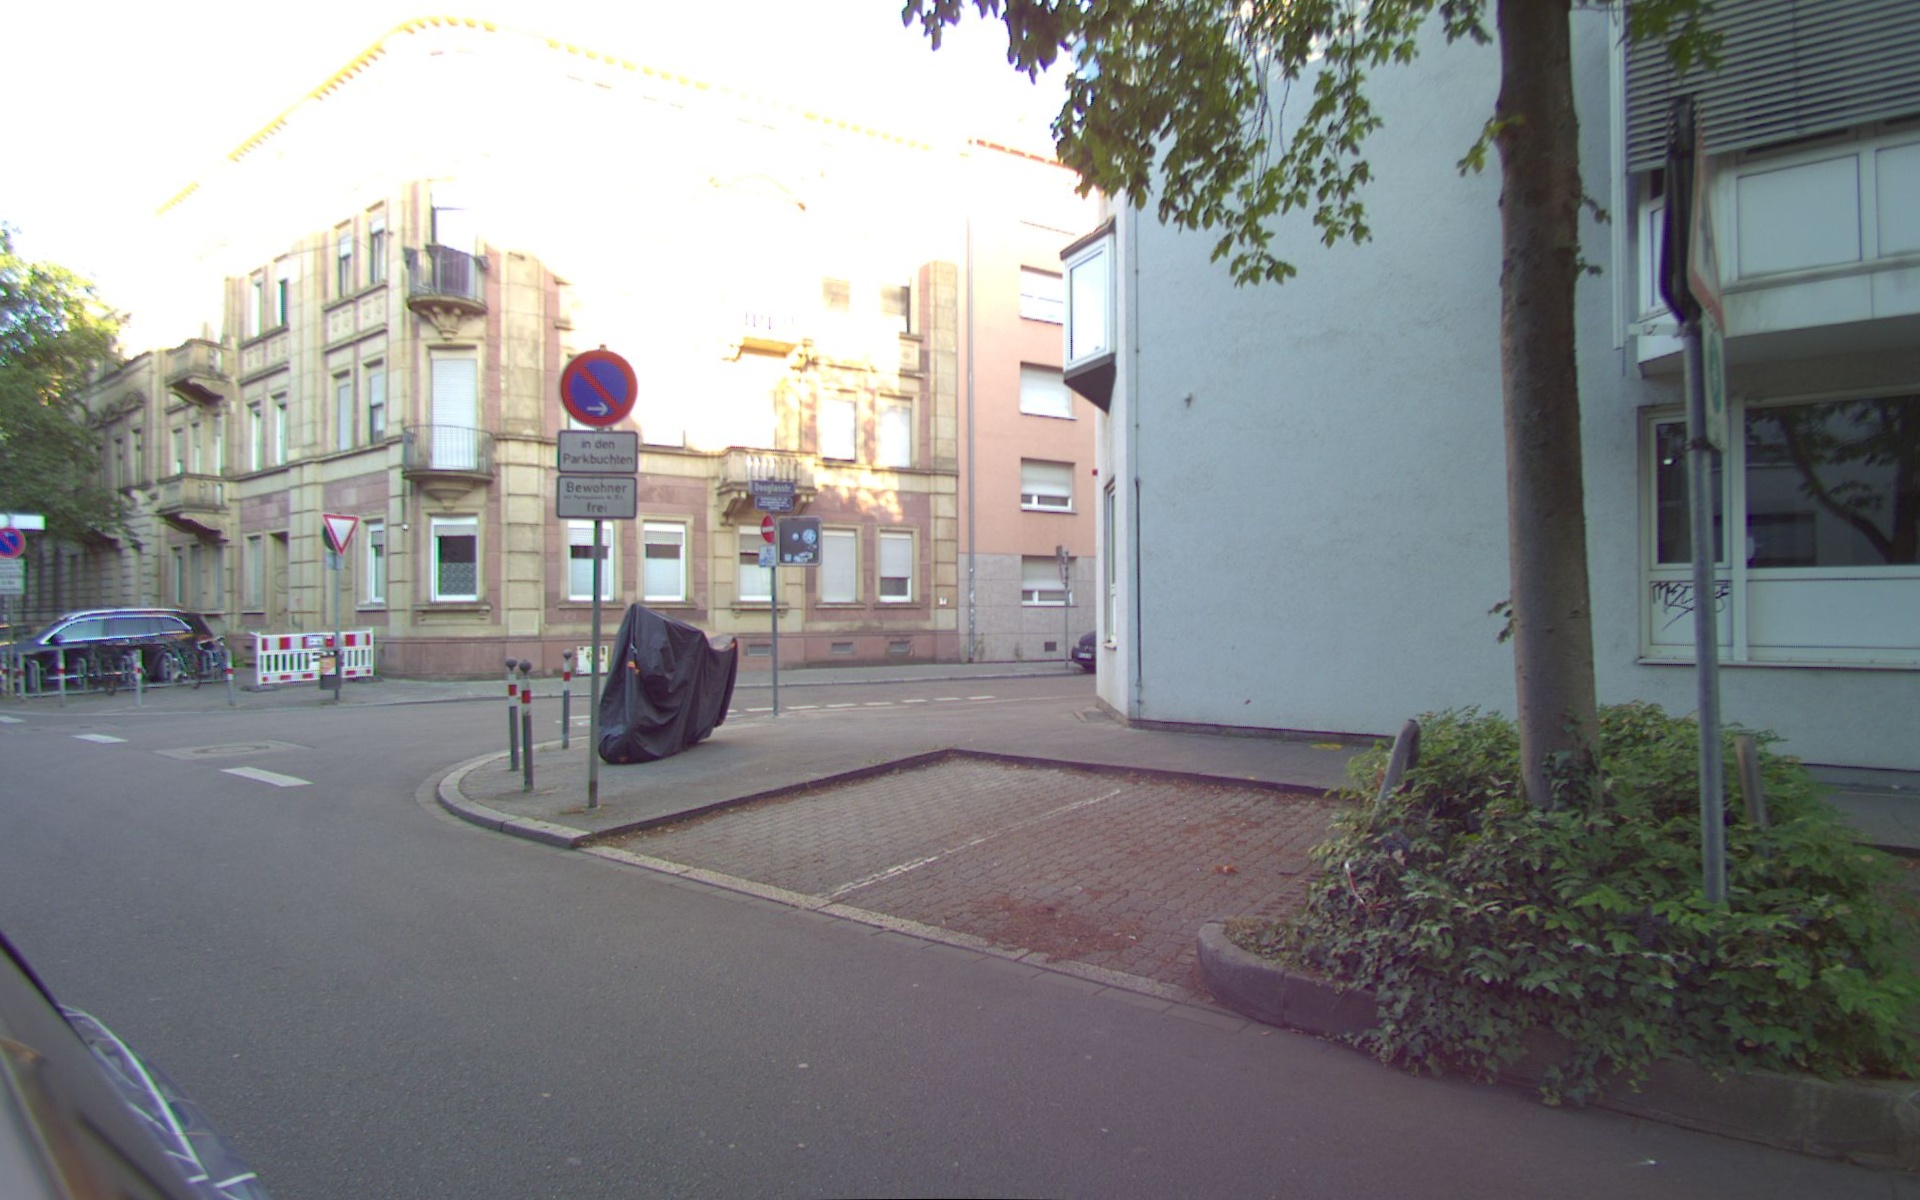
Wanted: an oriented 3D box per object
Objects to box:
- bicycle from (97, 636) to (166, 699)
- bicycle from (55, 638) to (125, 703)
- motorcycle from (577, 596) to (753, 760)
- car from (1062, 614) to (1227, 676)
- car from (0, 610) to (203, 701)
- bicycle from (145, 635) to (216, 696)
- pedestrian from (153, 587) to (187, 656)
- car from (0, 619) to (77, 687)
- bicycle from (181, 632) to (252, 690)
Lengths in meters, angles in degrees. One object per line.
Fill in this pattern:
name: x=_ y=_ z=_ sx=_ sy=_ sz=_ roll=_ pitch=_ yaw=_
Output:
bicycle: x=-16.282 y=1.301 z=19.878 sx=2.035 sy=1.159 sz=0.555 roll=-1 pitch=-1 yaw=36
bicycle: x=-16.651 y=1.325 z=19.360 sx=2.035 sy=1.159 sz=0.555 roll=-1 pitch=-1 yaw=36
motorcycle: x=-3.001 y=0.749 z=10.616 sx=0.810 sy=1.516 sz=2.274 roll=-1 pitch=-1 yaw=12
car: x=4.961 y=1.149 z=27.021 sx=4.296 sy=1.529 sz=1.790 roll=1 pitch=-1 yaw=-34
car: x=-18.892 y=1.122 z=21.387 sx=1.740 sy=1.795 sz=4.367 roll=-1 pitch=-2 yaw=39
bicycle: x=-15.792 y=1.303 z=20.491 sx=2.035 sy=1.159 sz=0.555 roll=-1 pitch=-1 yaw=35
pedestrian: x=-20.988 y=0.569 z=26.889 sx=0.650 sy=1.821 sz=0.566 roll=-1 pitch=-1 yaw=39
car: x=-25.156 y=1.341 z=25.492 sx=1.741 sy=1.690 sz=4.188 roll=-1 pitch=-2 yaw=41
bicycle: x=-15.422 y=1.241 z=20.983 sx=2.035 sy=1.159 sz=0.555 roll=-1 pitch=-1 yaw=35
